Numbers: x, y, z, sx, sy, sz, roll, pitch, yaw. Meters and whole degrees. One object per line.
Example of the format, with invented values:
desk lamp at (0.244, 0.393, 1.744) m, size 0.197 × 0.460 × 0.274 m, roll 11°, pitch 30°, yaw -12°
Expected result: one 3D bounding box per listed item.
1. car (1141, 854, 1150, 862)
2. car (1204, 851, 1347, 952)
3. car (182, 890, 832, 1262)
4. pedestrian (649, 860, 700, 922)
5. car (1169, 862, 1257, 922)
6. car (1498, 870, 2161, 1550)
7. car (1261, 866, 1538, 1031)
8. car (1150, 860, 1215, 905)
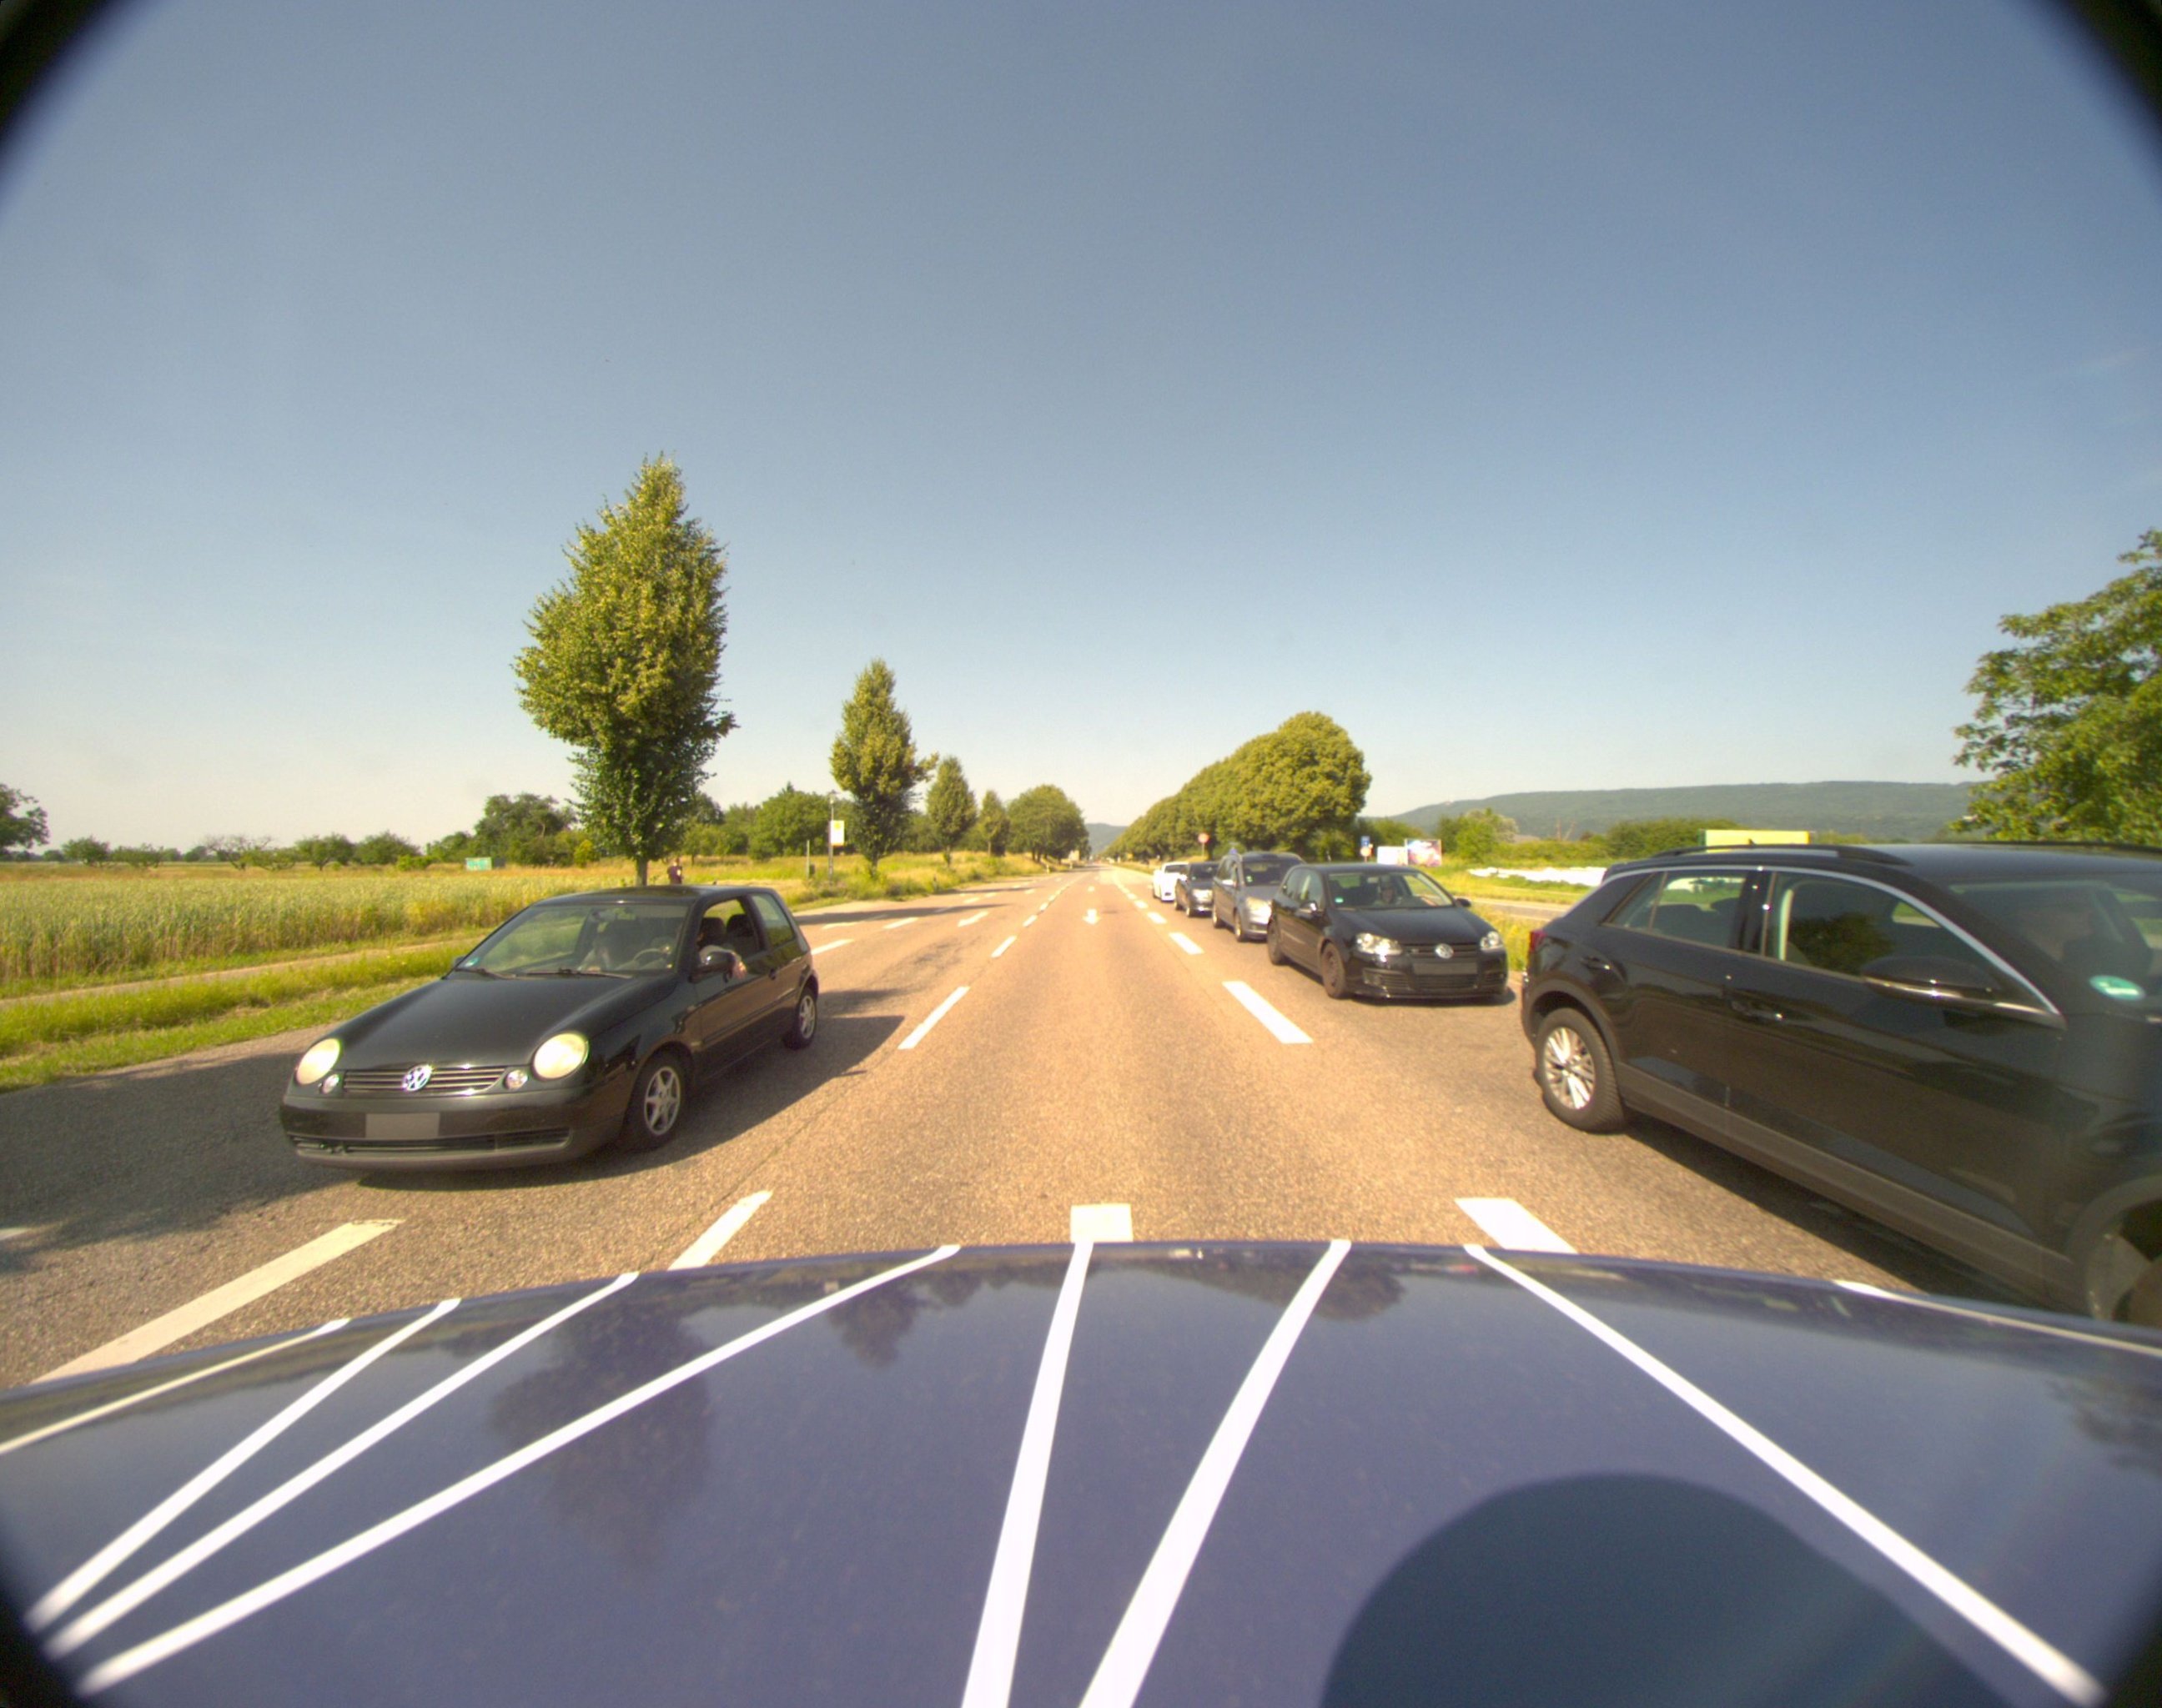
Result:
car at (15.867, 0.894, 187.035) m, size 1.998 × 1.830 × 4.954 m, roll 2°, pitch 0°, yaw 1°
car at (3.621, 0.814, 14.943) m, size 1.745 × 1.662 × 4.357 m, roll -1°, pitch 0°, yaw 1°
car at (-3.119, 1.067, 5.163) m, size 1.629 × 1.425 × 3.622 m, roll -2°, pitch 0°, yaw 0°
pedestrian at (-12.308, 1.100, 23.046) m, size 0.904 × 1.828 × 1.194 m, roll 0°, pitch 0°, yaw -1°
car at (3.521, 0.973, 20.996) m, size 1.718 × 1.402 × 4.355 m, roll -1°, pitch 0°, yaw 1°
car at (3.442, 0.875, 2.692) m, size 1.733 × 1.538 × 4.098 m, roll -1°, pitch 0°, yaw 1°
car at (3.454, 0.914, 9.140) m, size 1.670 × 1.466 × 4.098 m, roll -1°, pitch 0°, yaw 1°
car at (3.633, 0.973, 27.906) m, size 1.808 × 1.417 × 4.641 m, roll -1°, pitch 0°, yaw 1°
